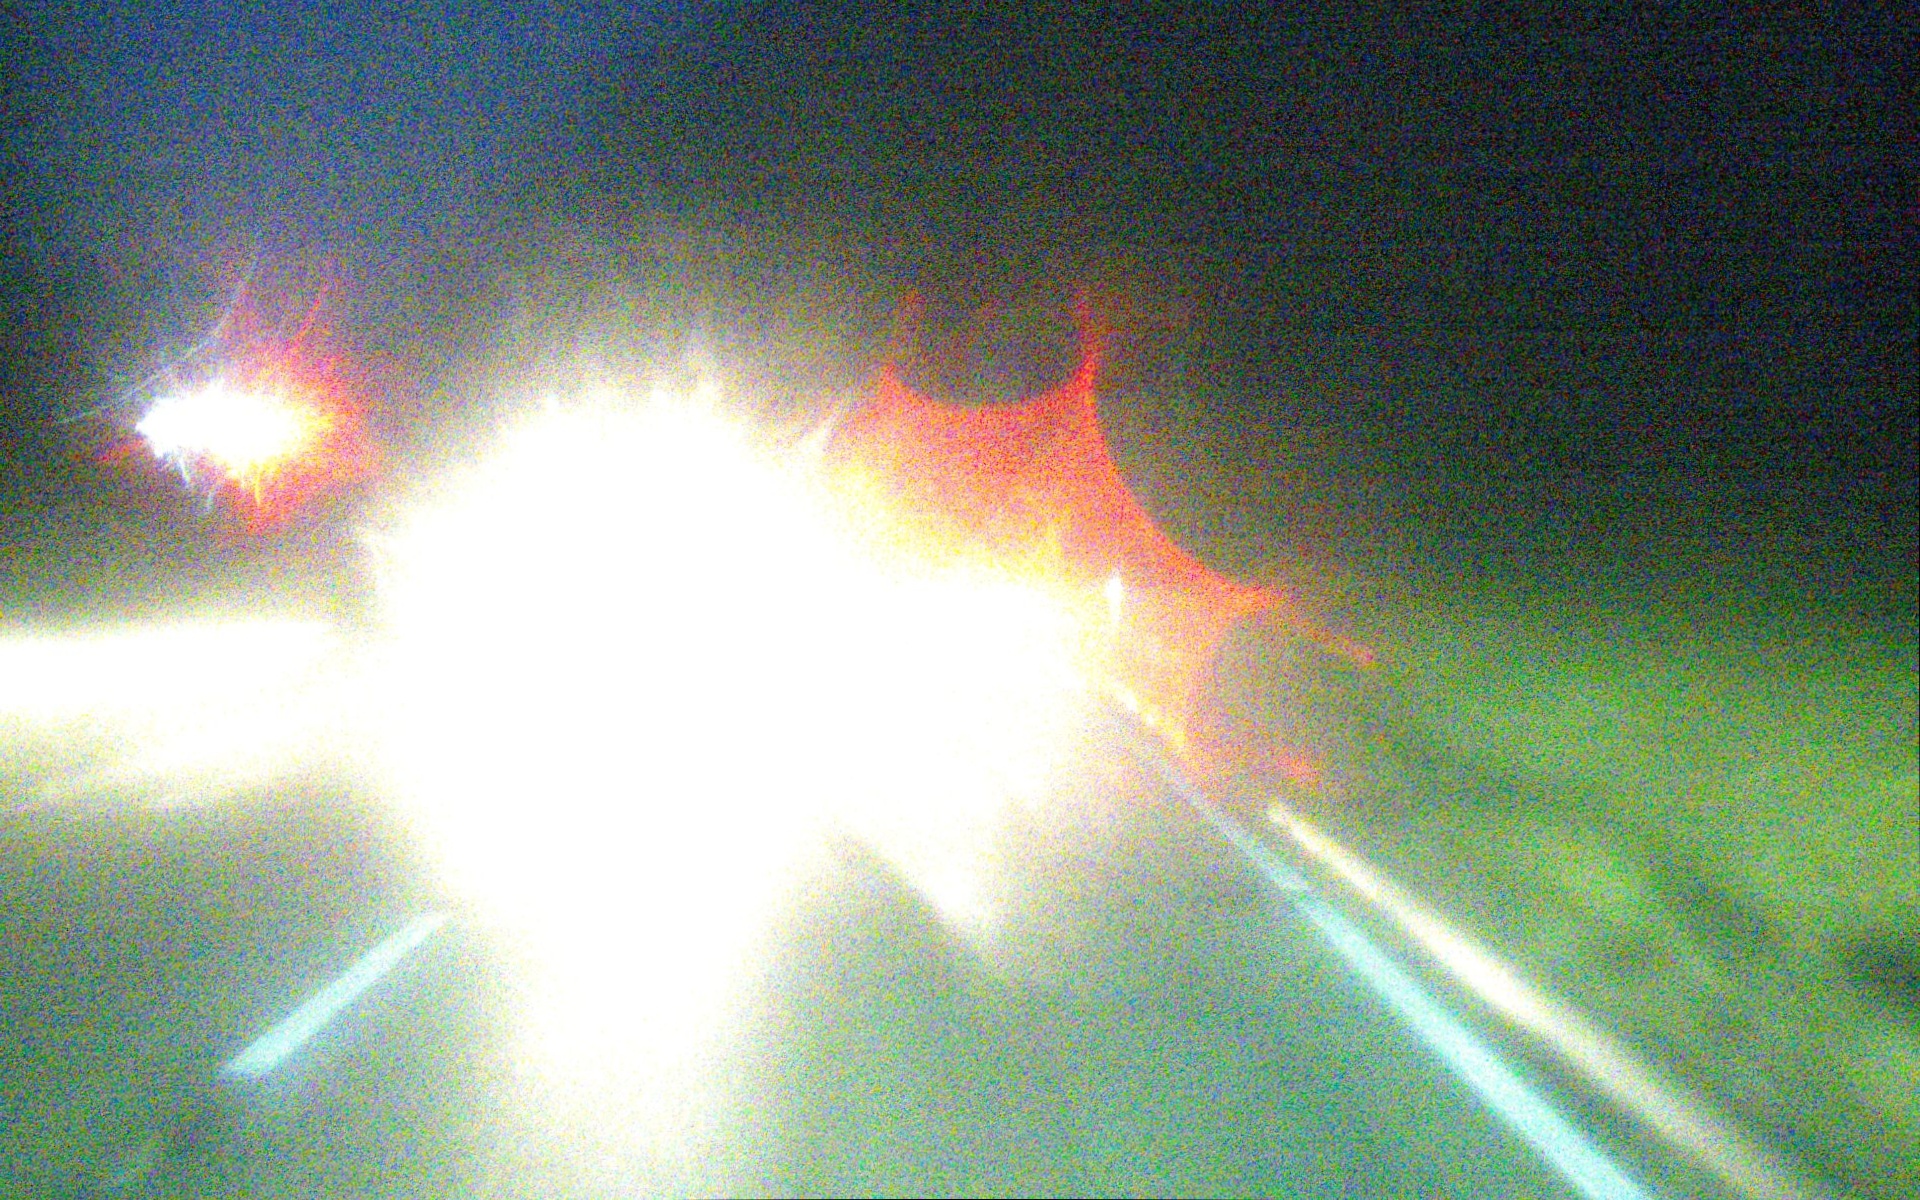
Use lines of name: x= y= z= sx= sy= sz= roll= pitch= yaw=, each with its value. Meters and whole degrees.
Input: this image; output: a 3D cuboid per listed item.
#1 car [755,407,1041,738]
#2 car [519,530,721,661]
car: x=-0.514 y=-0.328 z=29.367 sx=2.181 sy=2.548 sz=4.509 roll=2 pitch=3 yaw=-1
car: x=-4.082 y=-0.051 z=41.971 sx=1.919 sy=1.466 sz=4.574 roll=-1 pitch=0 yaw=1
